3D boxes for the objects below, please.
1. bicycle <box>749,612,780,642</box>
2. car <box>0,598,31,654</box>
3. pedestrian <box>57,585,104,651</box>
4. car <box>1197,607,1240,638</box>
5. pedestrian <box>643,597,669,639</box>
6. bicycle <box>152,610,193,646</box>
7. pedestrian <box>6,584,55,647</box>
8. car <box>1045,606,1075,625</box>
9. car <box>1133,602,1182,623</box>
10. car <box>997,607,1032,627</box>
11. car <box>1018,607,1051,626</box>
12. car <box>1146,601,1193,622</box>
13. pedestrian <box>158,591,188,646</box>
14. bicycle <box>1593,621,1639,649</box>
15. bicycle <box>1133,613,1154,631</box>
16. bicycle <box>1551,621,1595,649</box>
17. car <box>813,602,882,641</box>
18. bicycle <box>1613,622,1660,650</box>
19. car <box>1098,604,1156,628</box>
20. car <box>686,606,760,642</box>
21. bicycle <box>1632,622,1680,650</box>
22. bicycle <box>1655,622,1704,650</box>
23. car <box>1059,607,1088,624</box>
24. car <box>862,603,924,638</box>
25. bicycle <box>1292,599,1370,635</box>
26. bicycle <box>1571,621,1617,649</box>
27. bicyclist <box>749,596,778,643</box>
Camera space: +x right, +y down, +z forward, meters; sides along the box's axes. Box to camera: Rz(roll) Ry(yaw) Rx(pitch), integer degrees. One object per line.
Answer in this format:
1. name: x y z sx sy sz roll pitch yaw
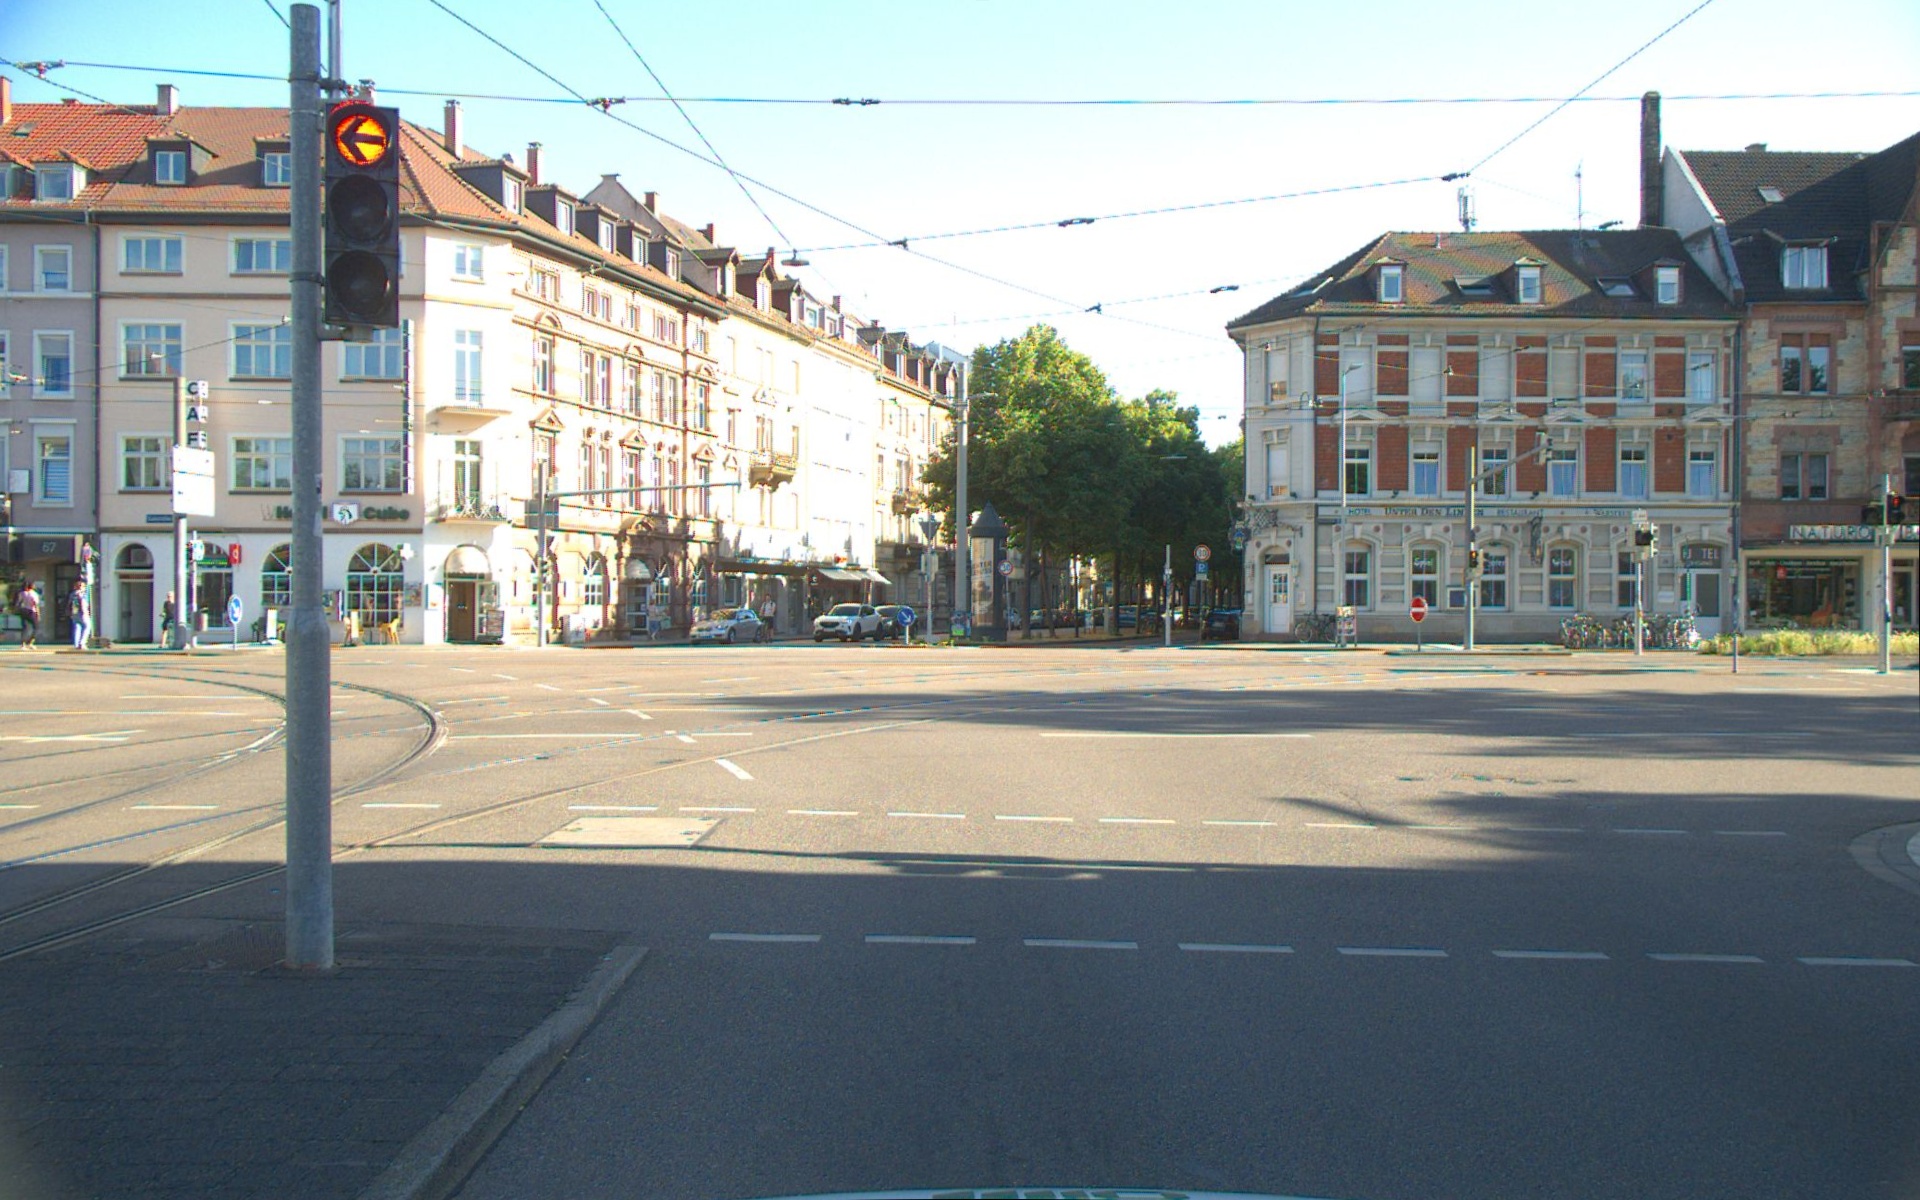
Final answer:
1. bicycle: -7.681 1.047 65.128 0.687 1.137 1.636 1 0 13
2. car: -32.152 0.789 52.257 4.276 1.741 2.306 1 0 1
3. pedestrian: -21.407 0.436 40.257 0.539 1.605 0.832 1 -1 27
4. car: 12.958 1.108 82.750 1.642 1.509 3.950 0 0 16
5. pedestrian: -12.474 0.725 67.917 0.759 1.699 0.831 1 -1 15
6. bicycle: -24.728 0.872 51.950 0.561 1.096 1.497 1 0 -1
7. pedestrian: -24.016 0.402 42.749 0.710 1.605 0.834 1 -1 9
8. car: 7.891 1.217 130.845 1.642 1.378 3.593 0 0 16
9. car: 15.318 0.962 128.248 3.503 1.677 1.684 0 0 16
10. car: 3.821 1.160 115.516 1.642 1.378 3.593 0 0 16
11. car: 5.532 1.212 122.503 1.642 1.378 3.593 0 0 16
12. car: 16.940 0.888 133.748 3.503 1.677 1.684 0 0 16
13. pedestrian: -24.725 0.574 51.963 0.570 1.699 0.752 1 -1 -1
14. bicycle: 21.193 1.134 53.470 0.645 0.855 2.160 1 0 0
15. bicycle: 11.051 1.298 99.628 0.625 1.039 1.840 1 0 -14
16. bicycle: 19.761 1.109 53.369 0.645 0.855 2.160 1 0 0
17. car: -4.535 0.844 67.228 1.642 1.509 3.774 0 0 16
18. bicycle: 21.863 1.146 53.503 0.645 0.855 2.160 1 0 0
19. car: 11.713 1.118 115.835 3.819 1.677 1.684 0 0 16
20. car: -9.540 0.934 66.746 1.642 1.378 3.593 0 0 16
21. bicycle: 22.491 1.157 53.483 0.645 0.855 2.160 1 0 0
22. bicycle: 23.280 1.170 53.529 0.645 0.855 2.160 1 0 0
23. car: 9.316 1.253 135.897 1.642 1.378 3.593 0 0 16
24. car: -2.948 0.888 73.553 1.642 1.509 3.950 0 0 16
25. bicycle: 12.866 0.590 57.459 2.504 1.194 0.818 1 -1 -4
26. bicycle: 20.481 1.122 53.456 0.645 0.855 2.160 1 0 0
27. bicyclist: -7.714 0.767 65.005 0.761 1.834 1.056 1 -1 13
